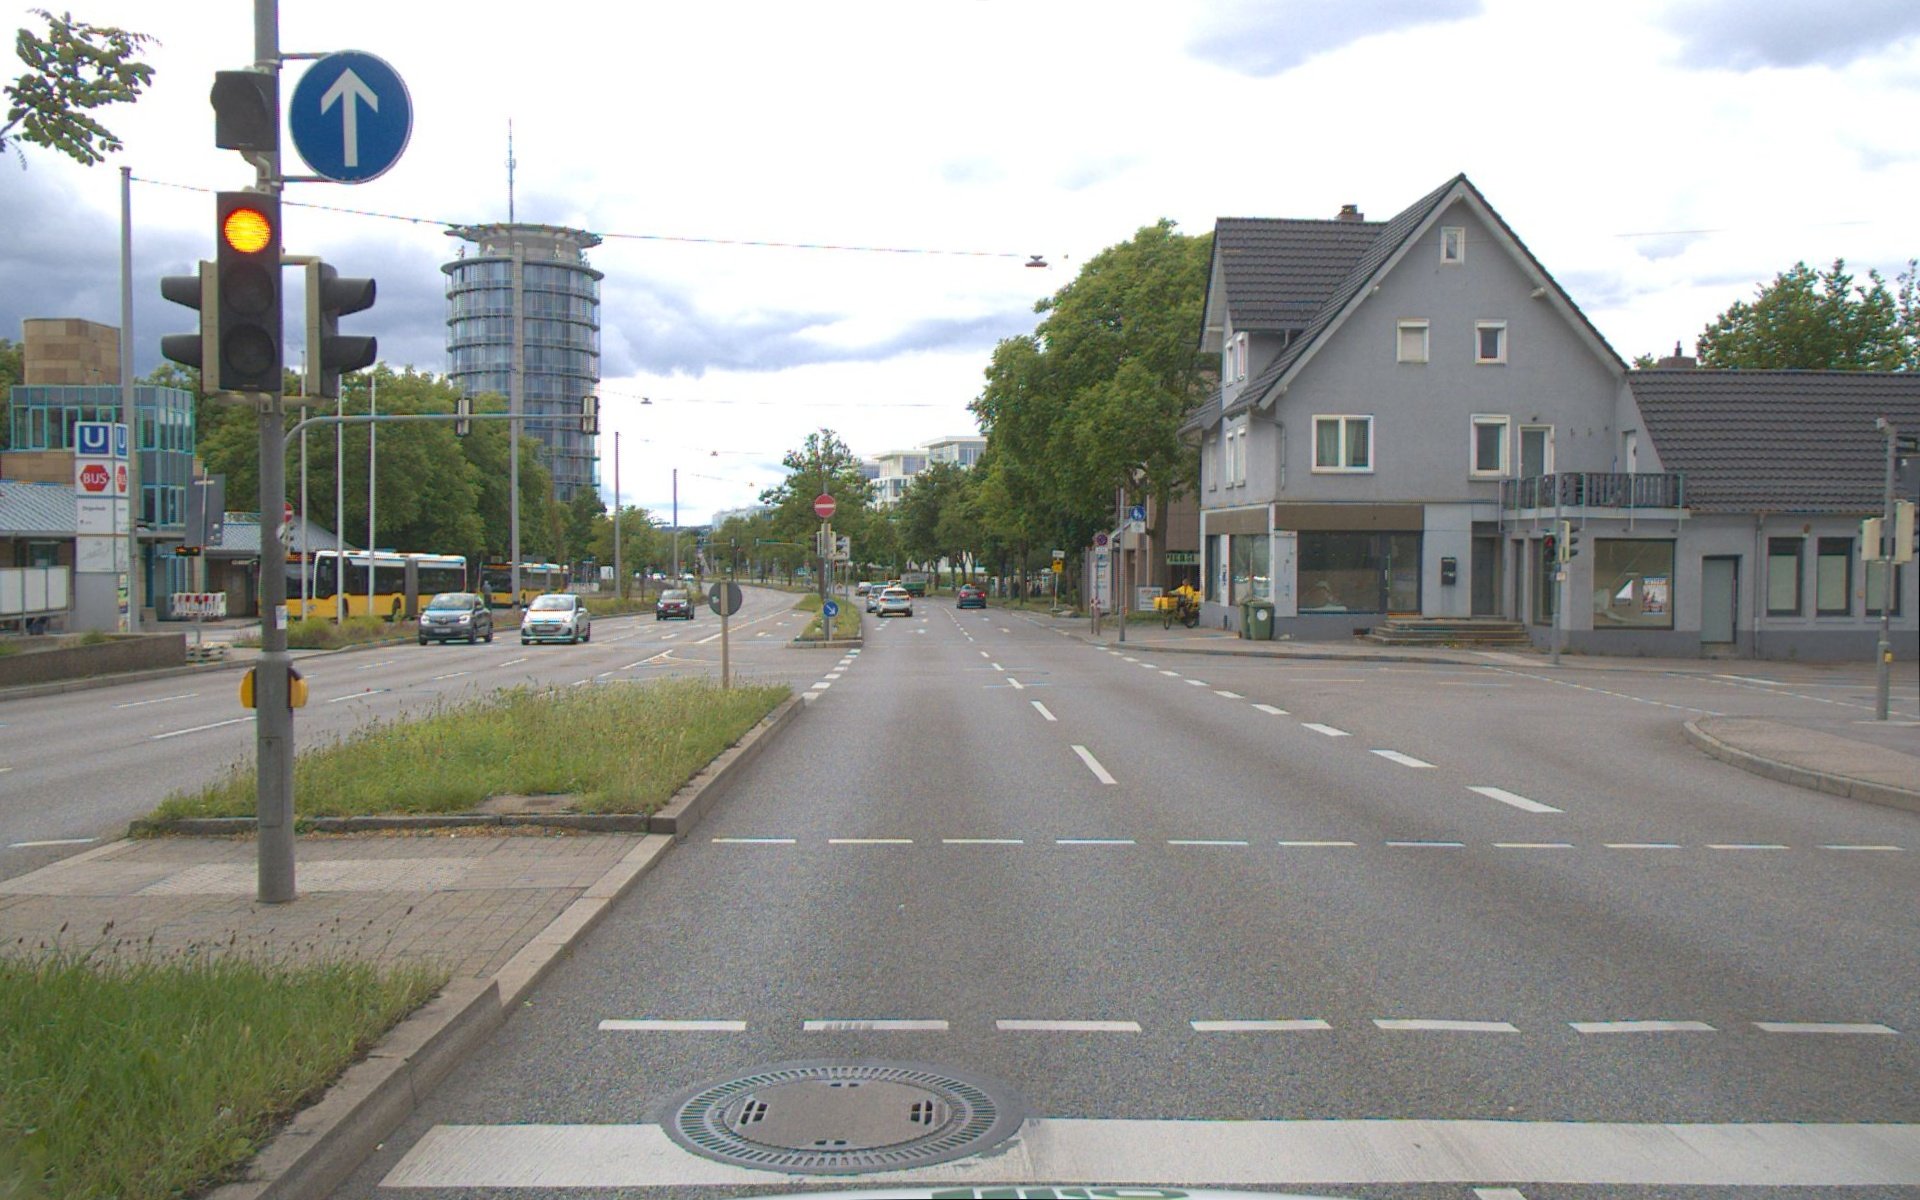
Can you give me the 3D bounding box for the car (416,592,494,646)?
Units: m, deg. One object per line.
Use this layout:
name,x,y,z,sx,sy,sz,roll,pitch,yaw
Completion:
car,-15.476,0.562,50.807,1.652,1.606,3.344,0,0,-6

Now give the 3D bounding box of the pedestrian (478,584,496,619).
pedestrian,-26.144,0.085,91.465,0.671,1.930,0.661,-1,0,33

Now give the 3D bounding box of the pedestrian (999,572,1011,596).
pedestrian,3.808,-1.335,139.085,0.951,2.049,0.981,1,-1,-2

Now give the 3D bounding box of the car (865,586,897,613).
car,-4.665,-0.034,97.506,1.786,1.567,4.111,-1,0,-4

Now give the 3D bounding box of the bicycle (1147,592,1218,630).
bicycle,7.646,0.364,56.855,2.414,1.239,1.063,-1,0,-39

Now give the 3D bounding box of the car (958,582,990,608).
car,0.847,-0.286,105.404,1.851,1.521,4.097,-2,-1,-2

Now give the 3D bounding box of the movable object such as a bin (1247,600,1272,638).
movable object such as a bin,7.996,0.495,44.158,0.518,0.997,0.736,0,0,-1

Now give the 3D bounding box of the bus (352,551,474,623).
bus,-26.550,-0.616,80.710,2.927,3.327,7.879,-1,0,3

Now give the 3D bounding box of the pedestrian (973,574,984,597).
pedestrian,1.824,-1.450,165.845,0.914,2.349,1.008,1,-1,-10

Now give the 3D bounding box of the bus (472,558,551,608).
bus,-30.793,-1.121,114.004,3.082,3.281,10.279,0,0,-3

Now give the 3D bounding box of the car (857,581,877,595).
car,-9.734,-1.264,173.017,1.929,1.444,4.017,0,0,-6

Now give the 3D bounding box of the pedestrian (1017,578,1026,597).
pedestrian,5.003,-1.024,135.191,0.638,1.597,0.669,0,0,-9

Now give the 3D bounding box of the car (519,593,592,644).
car,-12.367,0.548,50.719,1.651,1.488,3.552,0,0,-5

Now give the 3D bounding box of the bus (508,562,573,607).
bus,-31.155,-1.136,123.002,3.081,3.281,7.762,0,0,-2

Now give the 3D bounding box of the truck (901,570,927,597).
truck,-4.360,-1.538,156.420,2.207,2.459,4.927,0,0,-5

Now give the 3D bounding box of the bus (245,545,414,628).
bus,-27.087,-0.563,71.686,2.927,3.307,10.174,-1,0,3

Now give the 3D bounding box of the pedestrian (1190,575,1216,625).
pedestrian,8.990,-0.005,61.219,0.692,1.811,0.868,-1,0,30

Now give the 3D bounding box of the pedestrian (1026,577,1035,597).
pedestrian,5.765,-1.039,135.191,0.638,1.597,0.669,0,0,-9

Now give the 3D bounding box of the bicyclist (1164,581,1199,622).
bicyclist,7.616,0.060,56.835,0.621,1.380,1.063,0,0,-38

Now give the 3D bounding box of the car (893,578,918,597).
car,-5.414,-1.246,164.997,2.207,1.787,4.927,0,0,-5

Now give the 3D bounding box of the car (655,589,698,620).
car,-14.458,0.234,84.589,1.668,1.518,3.561,-1,0,-2

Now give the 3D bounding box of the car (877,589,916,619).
car,-3.306,0.208,86.508,1.953,1.503,4.255,-1,0,-1

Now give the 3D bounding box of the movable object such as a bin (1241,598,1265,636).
movable object such as a bin,7.965,0.456,44.948,0.518,0.997,0.736,0,0,-1

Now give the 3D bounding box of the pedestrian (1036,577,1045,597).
pedestrian,6.576,-1.040,135.034,0.638,1.597,0.669,0,0,-9

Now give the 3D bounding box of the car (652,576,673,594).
car,-35.923,-1.834,199.733,1.925,2.049,3.999,1,0,-1

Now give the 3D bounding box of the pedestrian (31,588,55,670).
pedestrian,-18.388,0.577,33.161,0.414,1.619,0.353,0,0,-30
